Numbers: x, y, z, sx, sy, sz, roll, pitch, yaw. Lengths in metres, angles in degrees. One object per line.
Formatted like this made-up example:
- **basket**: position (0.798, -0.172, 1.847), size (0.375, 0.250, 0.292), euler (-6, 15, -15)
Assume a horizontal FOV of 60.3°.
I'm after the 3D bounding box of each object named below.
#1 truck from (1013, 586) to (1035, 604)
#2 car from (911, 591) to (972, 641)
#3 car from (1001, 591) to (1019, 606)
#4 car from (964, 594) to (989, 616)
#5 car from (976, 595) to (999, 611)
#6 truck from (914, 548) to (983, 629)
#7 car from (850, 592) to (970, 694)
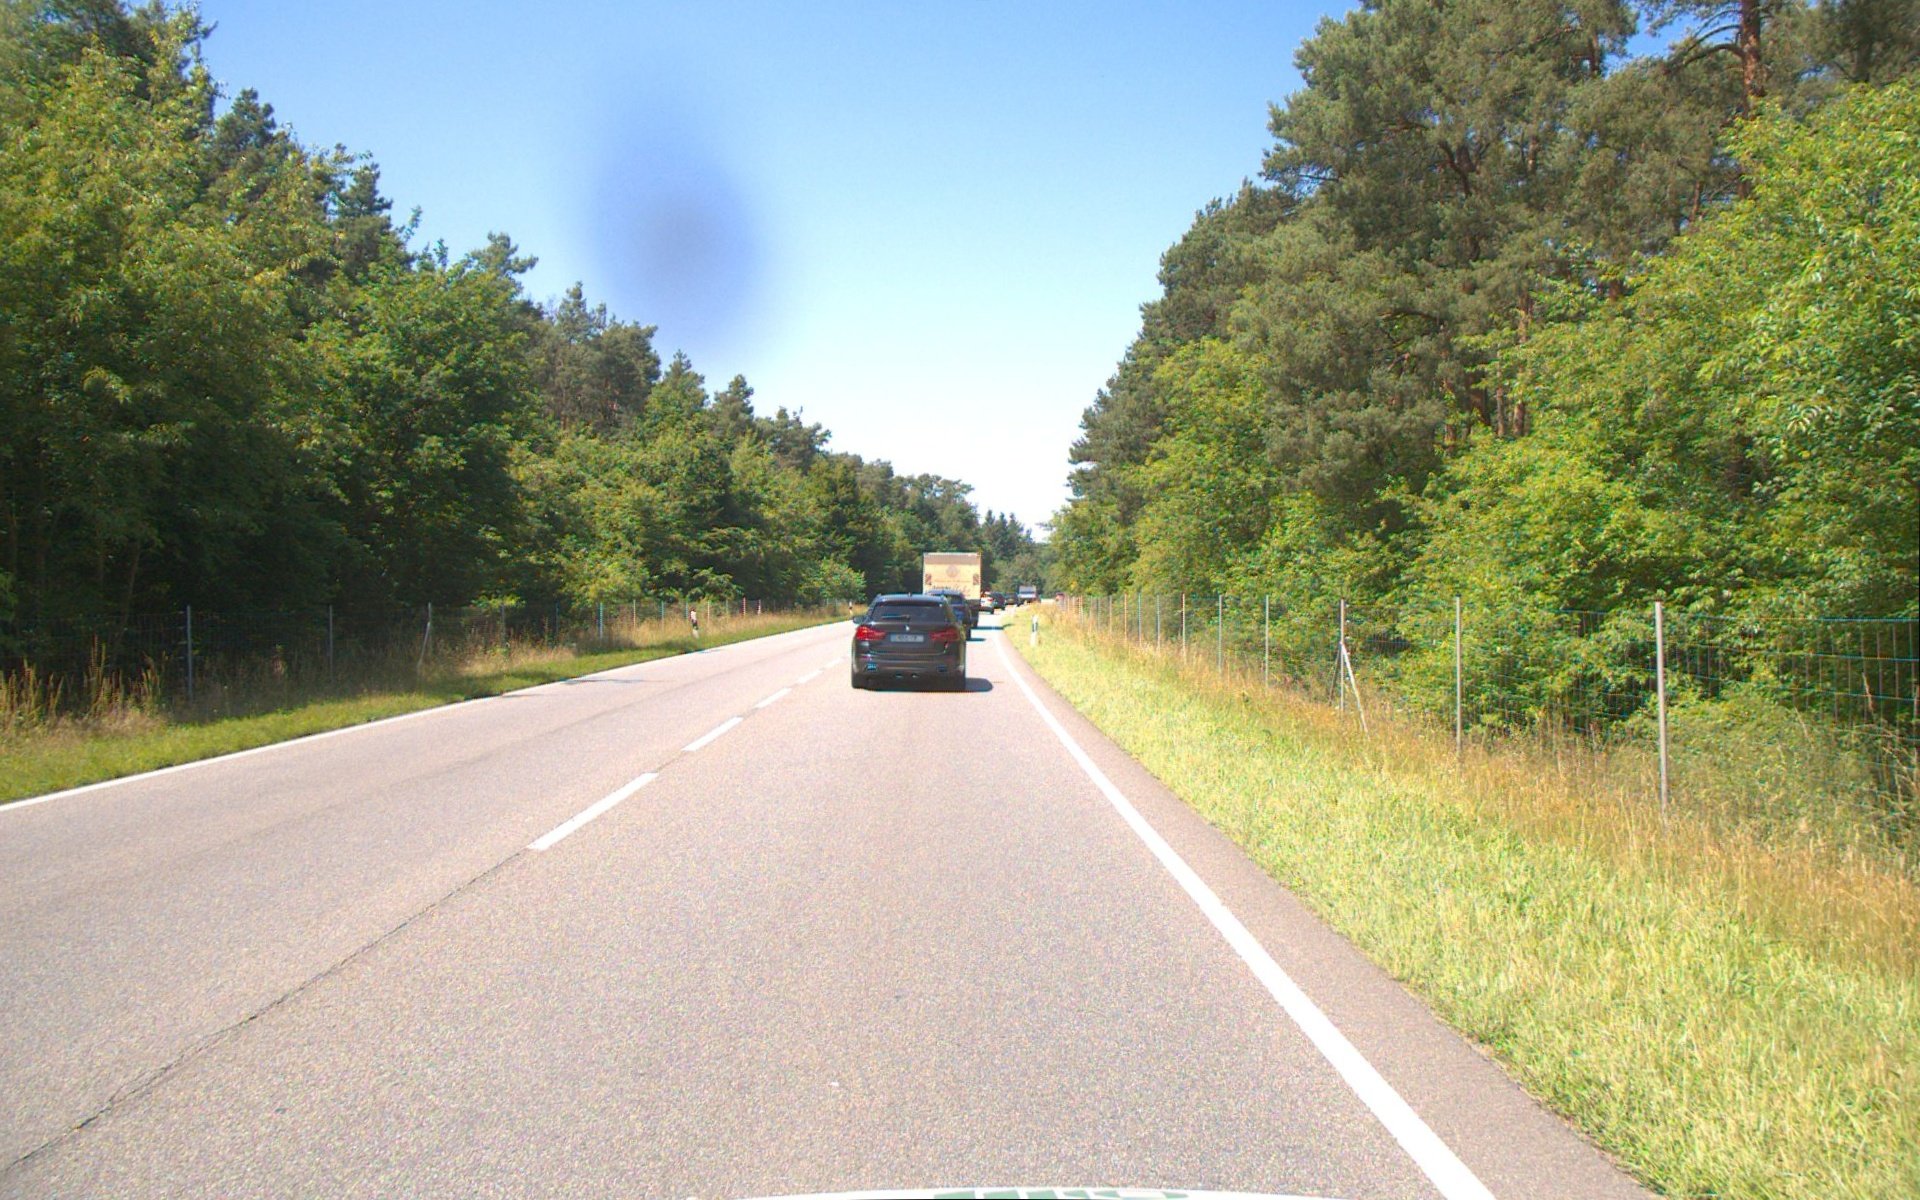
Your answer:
- **truck**: position (8.259, -0.681, 212.800), size (2.509, 2.240, 4.977), euler (-1, 1, 5)
- **car**: position (-0.600, 0.501, 54.958), size (1.907, 1.568, 4.000), euler (-1, 0, -1)
- **car**: position (5.693, -0.155, 188.835), size (1.952, 1.665, 4.002), euler (-1, 0, 3)
- **car**: position (1.247, 0.338, 124.892), size (1.825, 1.633, 4.000), euler (0, 0, -1)
- **car**: position (2.527, 0.246, 152.669), size (1.953, 1.445, 4.000), euler (1, 0, -1)
- **truck**: position (-0.599, -0.521, 73.942), size (2.906, 3.447, 6.436), euler (0, 0, -2)
- **car**: position (-0.842, 0.640, 27.126), size (1.784, 1.496, 3.998), euler (2, 0, -2)
